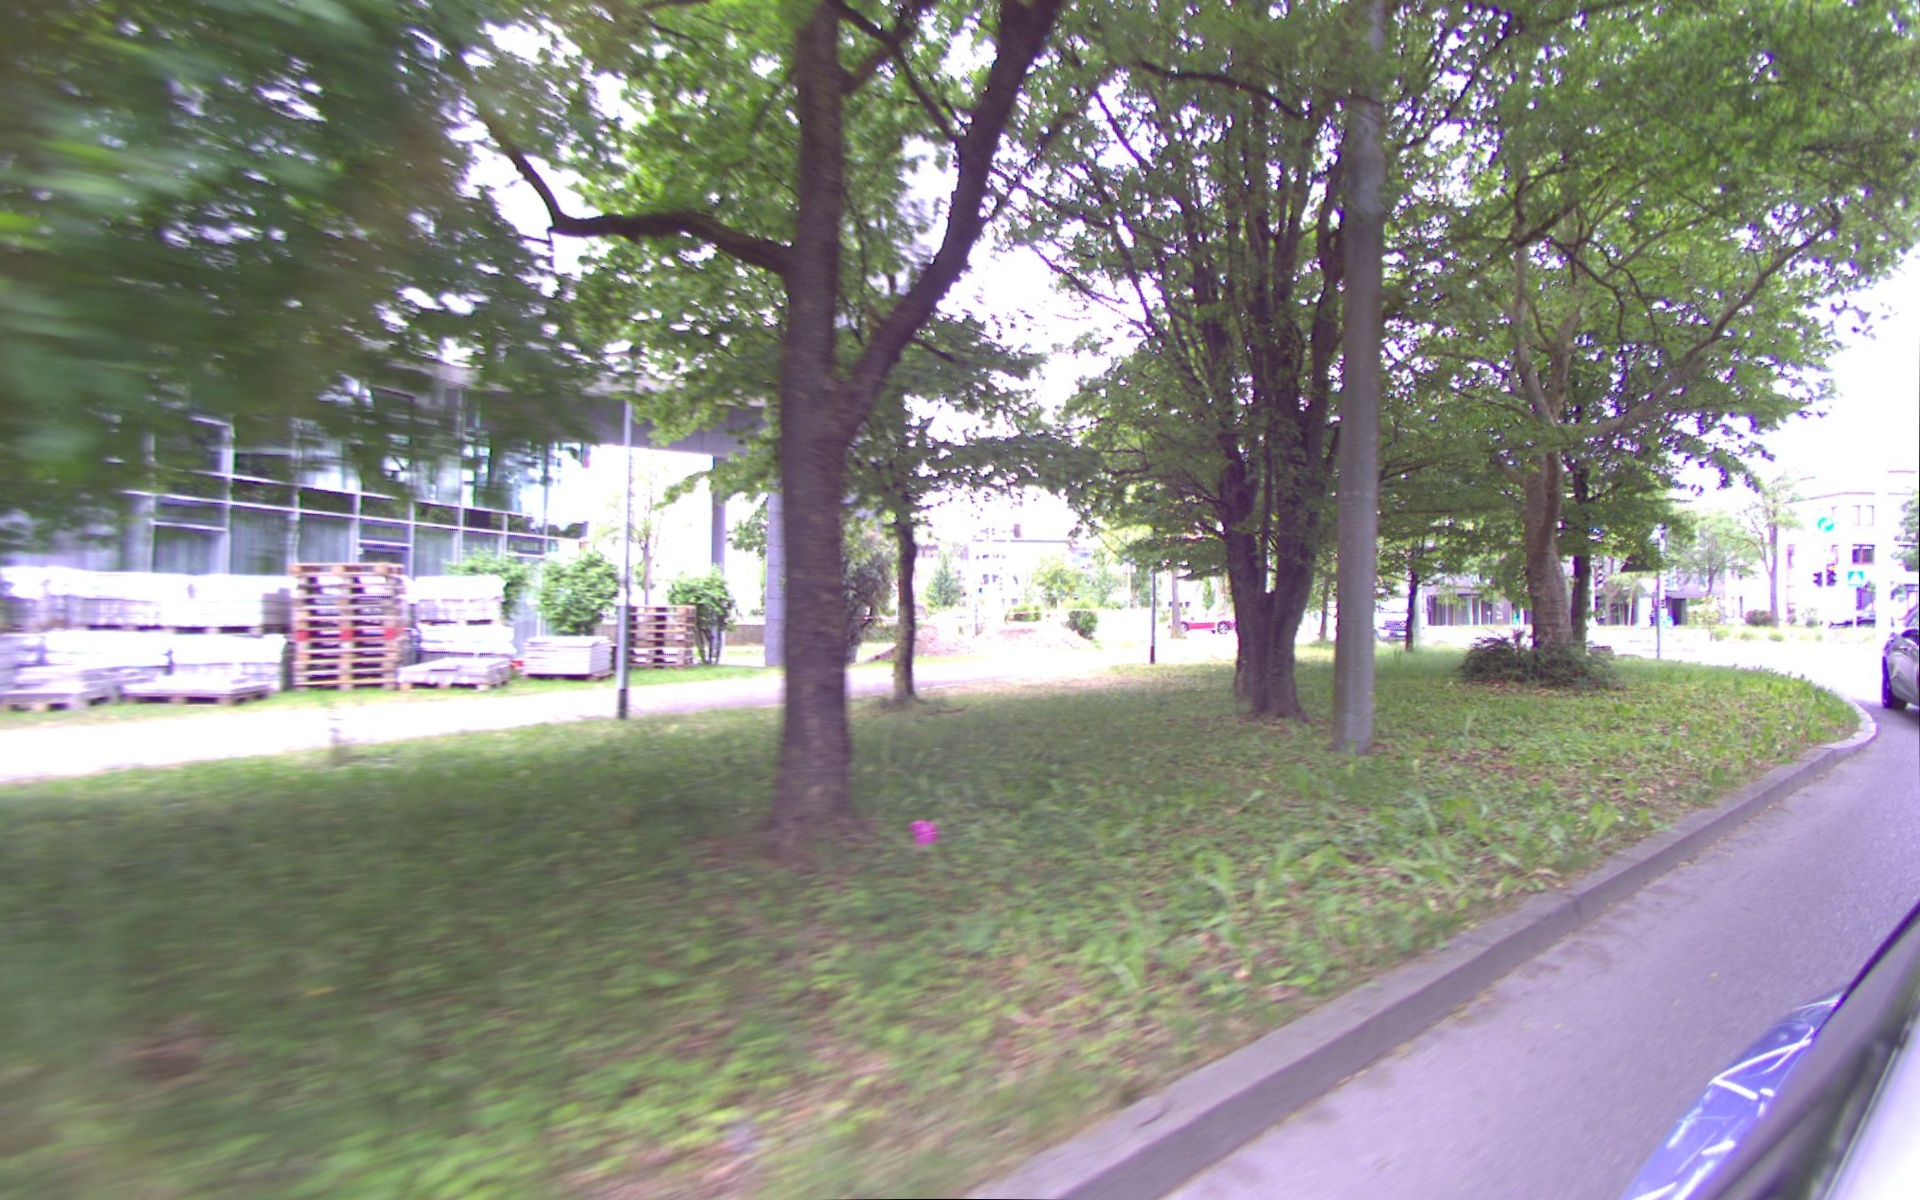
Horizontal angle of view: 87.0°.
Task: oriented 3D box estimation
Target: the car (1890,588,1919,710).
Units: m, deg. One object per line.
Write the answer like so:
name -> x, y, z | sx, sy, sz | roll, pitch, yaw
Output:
car -> 12.809, 0.627, 12.270 | 1.791, 1.502, 3.967 | 2, 1, 36

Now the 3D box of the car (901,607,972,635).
car -> -1.603, 1.400, 67.425 | 4.510, 1.717, 2.002 | -1, -3, -8

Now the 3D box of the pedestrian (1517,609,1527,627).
pedestrian -> 45.439, 1.471, 81.785 | 0.528, 1.375, 0.655 | -2, -3, 16

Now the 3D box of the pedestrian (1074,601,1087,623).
pedestrian -> 9.616, 0.944, 80.651 | 0.815, 1.718, 0.617 | -1, -3, -15

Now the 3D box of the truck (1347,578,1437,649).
truck -> 20.979, 0.594, 49.475 | 2.397, 3.235, 6.452 | 0, 0, 8

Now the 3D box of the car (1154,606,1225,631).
car -> 15.597, 1.263, 68.866 | 4.290, 1.505, 1.826 | 2, -3, -5
